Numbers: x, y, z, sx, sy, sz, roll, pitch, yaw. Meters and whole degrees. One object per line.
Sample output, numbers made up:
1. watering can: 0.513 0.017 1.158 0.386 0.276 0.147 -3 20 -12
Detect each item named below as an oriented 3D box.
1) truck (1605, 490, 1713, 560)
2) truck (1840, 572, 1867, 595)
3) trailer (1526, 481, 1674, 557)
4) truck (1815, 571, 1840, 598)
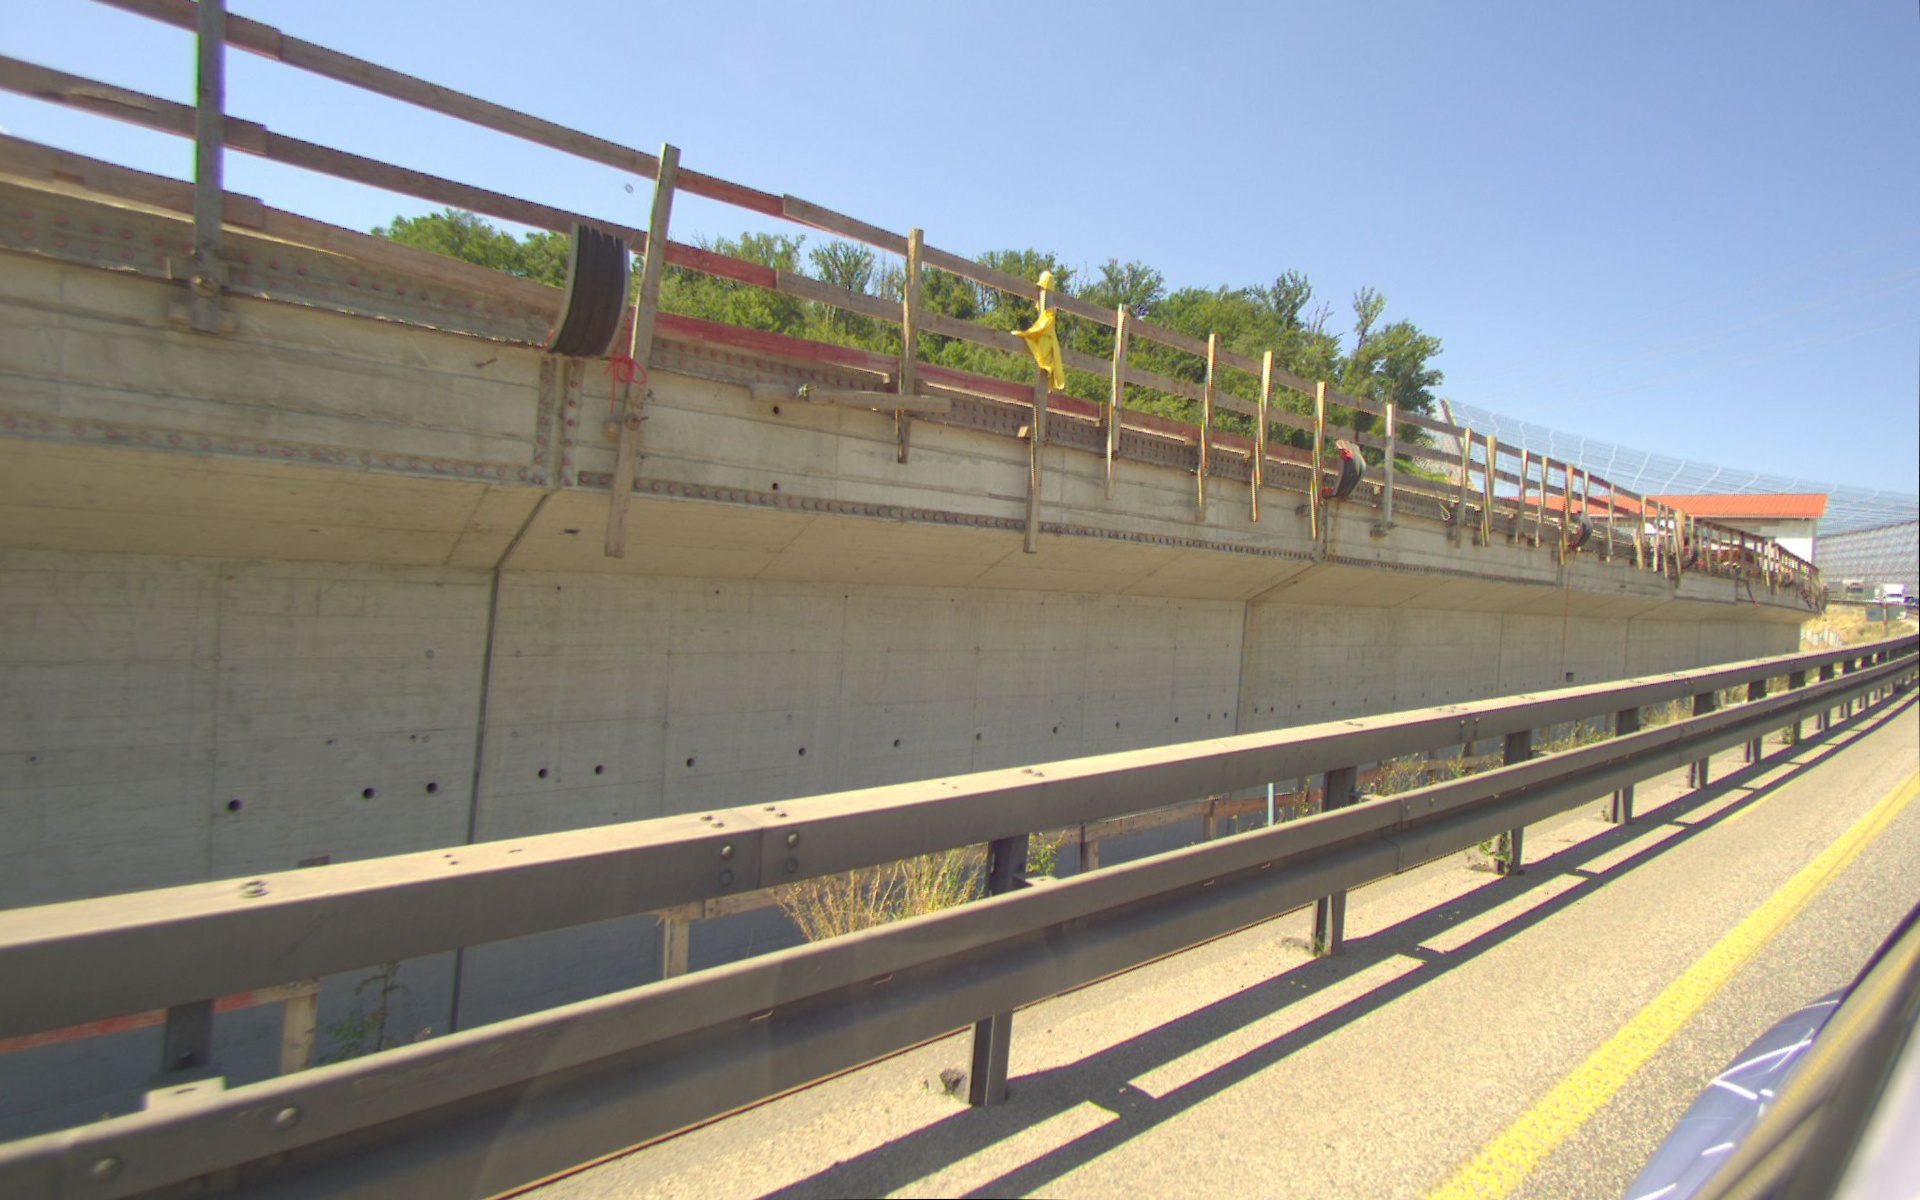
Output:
1. truck: 43.097 -4.537 62.378 5.590 3.741 2.725 3 0 -22
2. truck: 154.036 -2.910 174.478 8.117 3.793 3.035 -1 1 -45
3. trailer: 38.229 -4.730 60.422 8.806 3.741 2.725 3 0 -22
4. truck: 157.386 -2.847 183.691 3.027 4.865 8.822 0 1 37
